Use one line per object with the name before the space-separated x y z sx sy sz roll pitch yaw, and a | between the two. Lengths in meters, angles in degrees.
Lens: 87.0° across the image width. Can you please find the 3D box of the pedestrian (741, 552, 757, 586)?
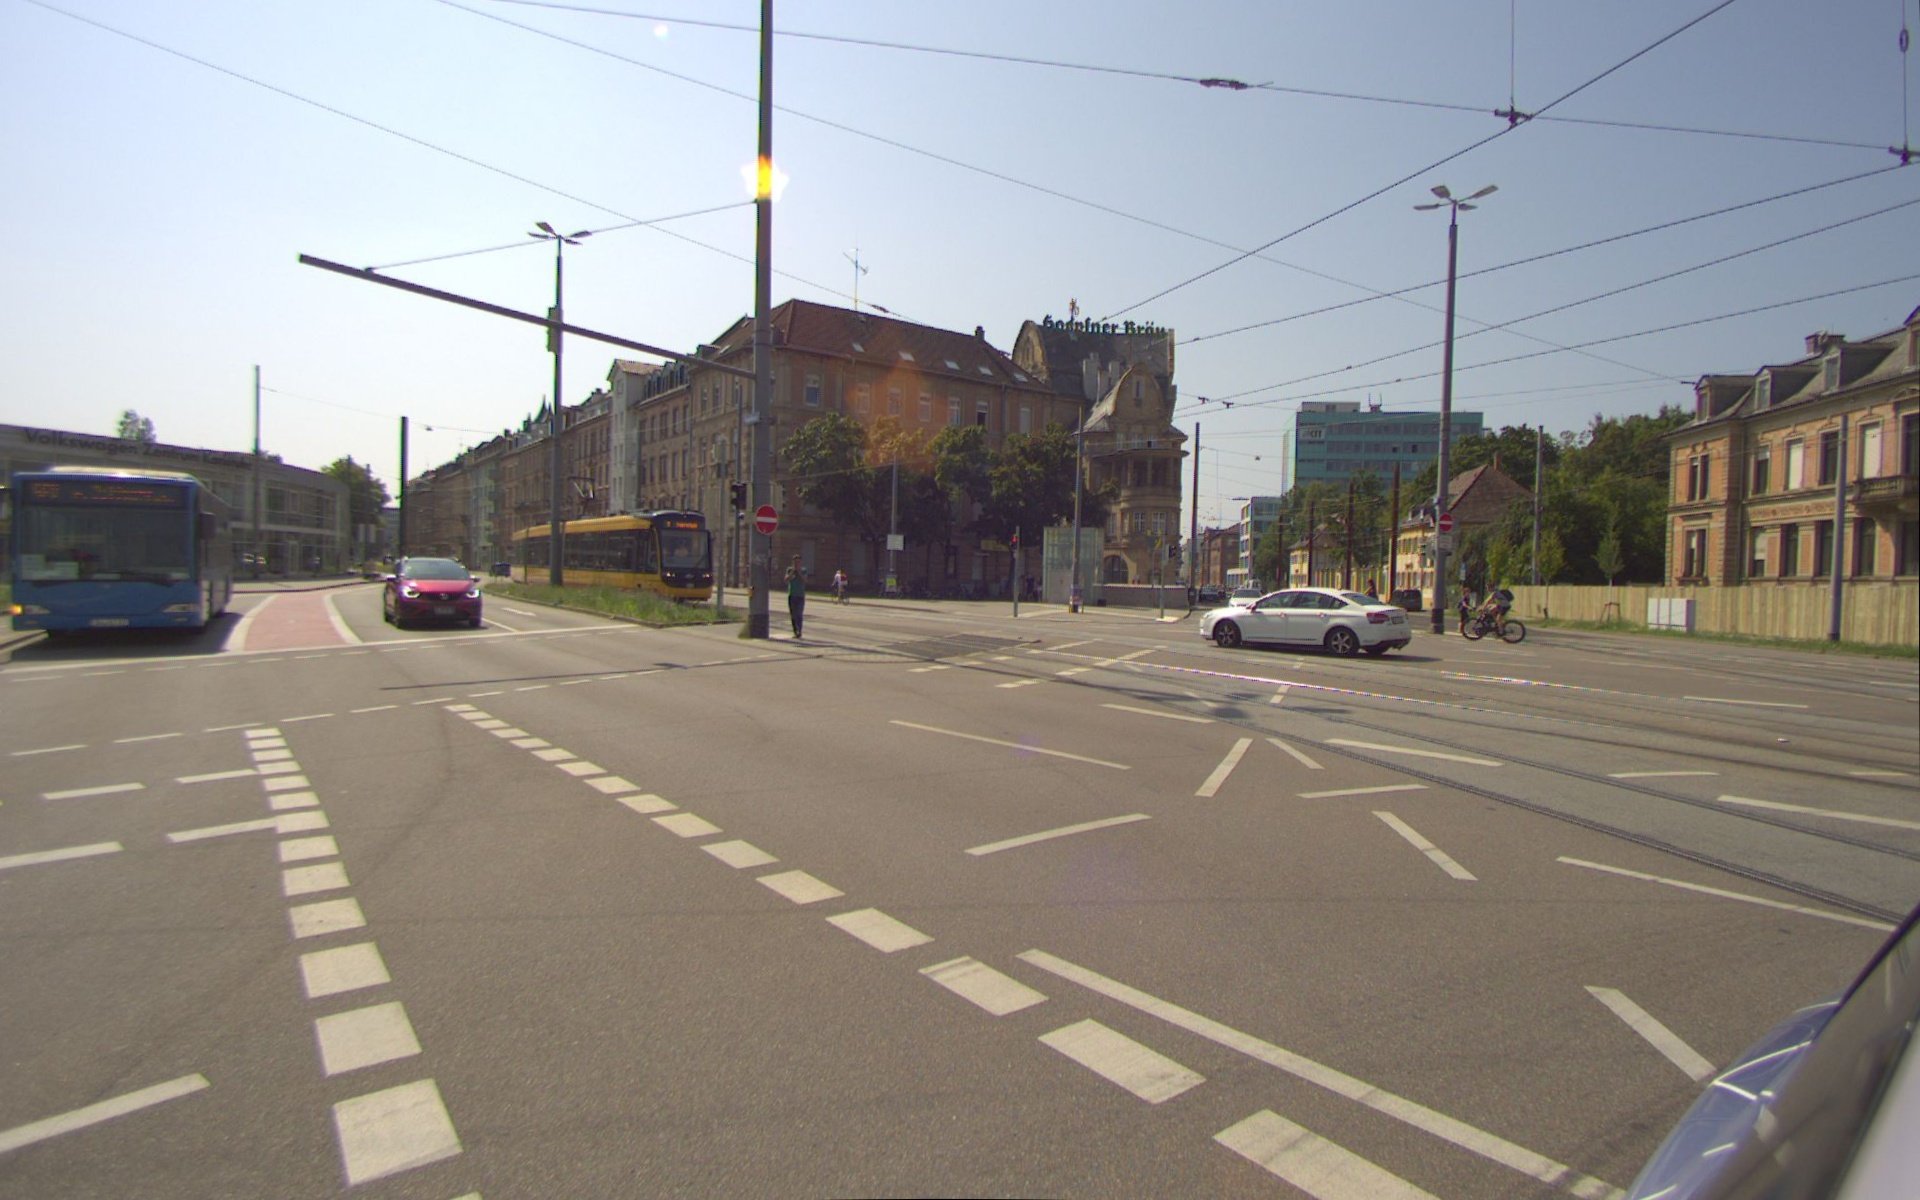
pedestrian | -12.728 -1.894 61.087 0.639 2.039 0.703 1 1 -39

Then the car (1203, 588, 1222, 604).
car | 23.575 -0.391 94.671 1.352 1.416 3.248 2 0 8

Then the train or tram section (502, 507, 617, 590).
train or tram section | -20.198 -2.529 50.450 2.546 3.604 12.221 1 2 -35

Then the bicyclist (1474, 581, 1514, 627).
bicyclist | 15.344 0.098 29.101 0.854 1.249 1.093 2 1 22

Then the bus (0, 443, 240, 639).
bus | -17.477 -1.127 21.793 2.681 3.102 12.089 1 1 -33

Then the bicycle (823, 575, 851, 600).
bicycle | -5.698 -0.596 46.924 0.433 1.125 1.641 1 2 -40

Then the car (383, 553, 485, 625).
car | -12.093 -0.309 23.168 1.599 1.490 3.773 -1 2 -35

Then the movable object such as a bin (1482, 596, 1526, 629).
movable object such as a bin | 18.502 0.425 34.445 0.803 1.099 1.040 2 -1 -26

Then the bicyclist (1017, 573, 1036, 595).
bicyclist | 4.203 -1.007 64.220 0.737 1.336 0.919 1 2 -45

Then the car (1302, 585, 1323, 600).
car | 44.890 -0.949 128.934 1.970 1.705 3.983 2 0 13

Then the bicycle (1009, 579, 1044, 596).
bicycle | 4.193 -0.796 64.198 0.635 1.010 2.369 1 2 -45

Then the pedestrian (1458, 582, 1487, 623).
pedestrian | 17.872 0.080 35.276 0.810 1.368 0.712 2 1 30

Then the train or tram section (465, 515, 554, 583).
train or tram section | -26.963 -3.002 60.161 2.546 3.604 12.221 1 2 -35

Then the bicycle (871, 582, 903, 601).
bicycle | -3.819 -0.450 53.251 1.757 0.969 0.461 1 1 -42

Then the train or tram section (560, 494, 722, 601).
train or tram section | -13.004 -2.022 40.126 2.546 3.604 12.221 1 2 -35

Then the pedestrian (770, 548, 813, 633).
pedestrian | -3.534 -0.202 21.196 0.788 1.708 0.720 3 1 -9

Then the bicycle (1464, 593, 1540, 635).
bicycle | 15.529 0.383 29.041 1.834 1.125 0.708 2 1 23

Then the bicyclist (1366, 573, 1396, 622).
bicyclist | 13.138 -0.095 31.578 0.647 1.499 0.643 1 1 -43

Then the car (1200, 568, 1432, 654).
car | 7.836 0.169 22.621 1.742 1.638 4.593 0 2 -44

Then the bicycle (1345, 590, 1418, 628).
bicycle | 13.117 0.267 31.573 0.433 1.125 2.123 1 0 -42

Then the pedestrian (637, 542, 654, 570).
pedestrian | -23.239 -3.226 74.803 0.827 2.039 0.808 3 -1 -43

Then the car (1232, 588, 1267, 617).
car | 14.266 0.108 50.009 1.565 1.304 3.710 2 1 15

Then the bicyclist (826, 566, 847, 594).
bicyclist | -5.712 -0.905 46.816 0.642 1.269 0.648 2 1 45

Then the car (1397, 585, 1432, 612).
car | 36.628 -0.126 81.664 1.972 2.039 3.979 2 0 16

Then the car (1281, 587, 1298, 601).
car | 47.827 -0.868 146.801 1.970 1.928 3.983 2 0 13
